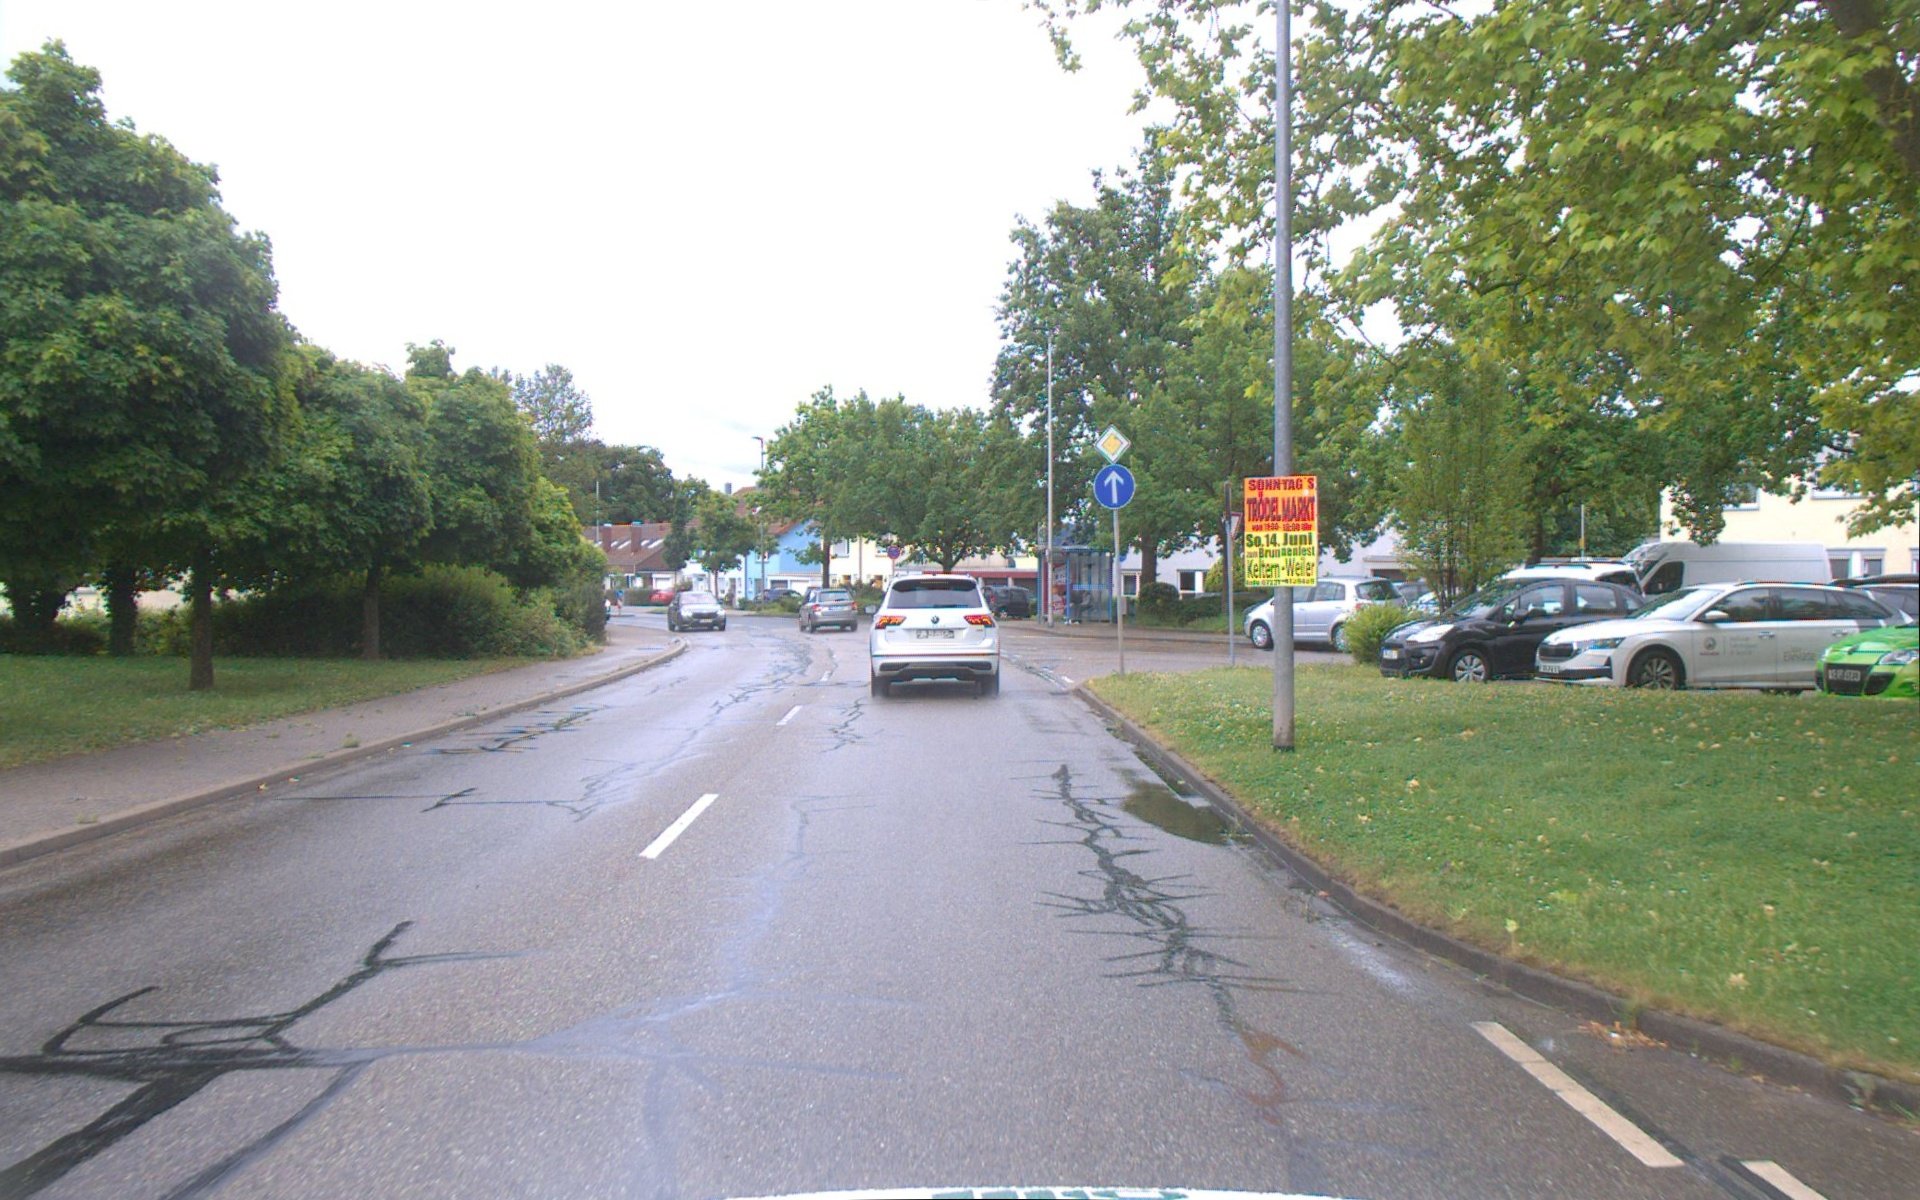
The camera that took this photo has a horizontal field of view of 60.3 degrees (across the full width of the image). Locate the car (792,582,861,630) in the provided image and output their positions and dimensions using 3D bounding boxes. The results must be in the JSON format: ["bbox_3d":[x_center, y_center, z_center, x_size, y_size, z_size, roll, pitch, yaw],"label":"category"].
[{"bbox_3d":[-4.640,0.192,57.193,1.739,1.578,3.985,0,0,-14],"label":"car"}]

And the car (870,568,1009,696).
[{"bbox_3d":[-0.301,0.405,24.094,1.827,1.679,3.999,-1,1,-1],"label":"car"}]

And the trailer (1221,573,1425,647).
[{"bbox_3d":[8.162,0.199,37.498,1.977,1.570,4.371,-1,1,-35],"label":"trailer"}]

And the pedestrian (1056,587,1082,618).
[{"bbox_3d":[3.568,0.078,54.317,0.735,1.029,0.550,0,0,-10],"label":"pedestrian"}]

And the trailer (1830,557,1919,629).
[{"bbox_3d":[20.562,-0.156,34.542,3.905,1.462,1.712,0,0,-1],"label":"trailer"}]

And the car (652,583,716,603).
[{"bbox_3d":[-19.155,-0.485,114.812,1.651,1.283,4.288,1,0,44],"label":"car"}]

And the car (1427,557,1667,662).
[{"bbox_3d":[11.442,0.162,32.485,1.974,1.914,4.167,0,0,-31],"label":"car"}]

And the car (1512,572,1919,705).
[{"bbox_3d":[9.303,0.429,20.282,4.485,1.468,1.762,-1,1,-7],"label":"car"}]

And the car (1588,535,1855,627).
[{"bbox_3d":[18.062,-0.471,39.304,5.718,2.049,1.994,-1,0,-12],"label":"car"}]

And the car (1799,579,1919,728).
[{"bbox_3d":[11.296,0.495,17.589,3.933,1.468,1.762,-1,1,-7],"label":"car"}]

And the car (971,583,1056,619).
[{"bbox_3d":[2.654,0.047,82.075,3.958,1.751,1.898,-1,0,-38],"label":"car"}]

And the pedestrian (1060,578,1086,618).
[{"bbox_3d":[3.660,-0.075,53.508,0.713,1.272,0.550,0,0,-10],"label":"pedestrian"}]

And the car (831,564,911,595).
[{"bbox_3d":[-5.020,-1.143,93.682,4.145,1.701,1.967,-1,0,-35],"label":"car"}]

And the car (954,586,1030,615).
[{"bbox_3d":[1.634,0.008,84.629,3.666,1.467,1.684,-1,0,-38],"label":"car"}]

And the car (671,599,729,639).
[{"bbox_3d":[-9.961,0.684,63.165,1.712,1.439,4.125,0,0,-16],"label":"car"}]

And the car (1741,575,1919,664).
[{"bbox_3d":[15.328,0.297,27.277,1.746,1.407,4.133,-1,0,-36],"label":"car"}]

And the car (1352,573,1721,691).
[{"bbox_3d":[7.865,0.404,22.753,4.485,1.468,1.762,-1,1,-7],"label":"car"}]
